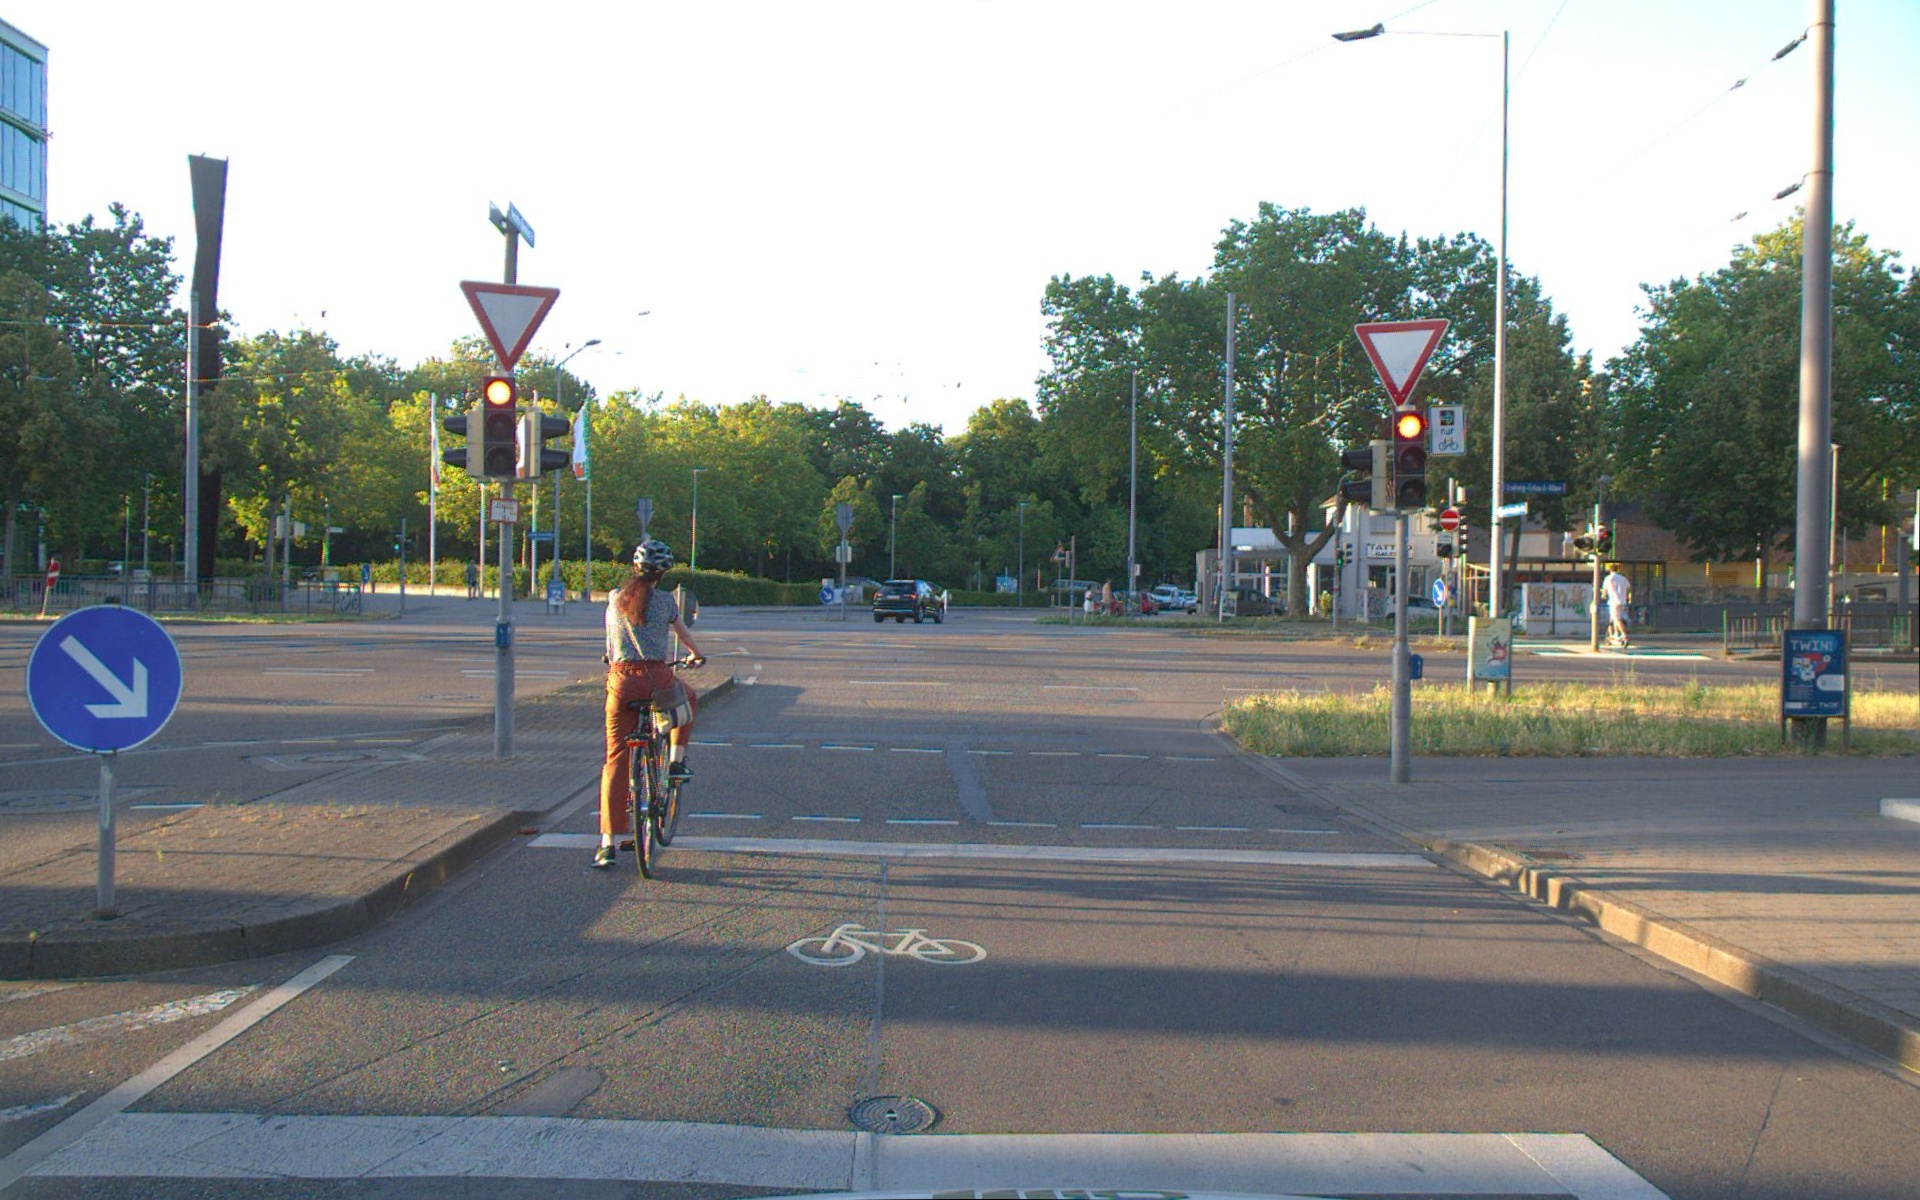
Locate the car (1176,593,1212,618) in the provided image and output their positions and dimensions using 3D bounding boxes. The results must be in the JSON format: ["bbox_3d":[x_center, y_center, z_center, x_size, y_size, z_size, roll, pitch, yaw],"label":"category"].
[{"bbox_3d":[16.379,0.359,115.663,1.875,1.630,4.002,1,1,17],"label":"car"}]

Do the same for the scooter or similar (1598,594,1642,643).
[{"bbox_3d":[15.406,0.433,38.617,0.499,1.109,1.243,1,0,-1],"label":"scooter or similar"}]

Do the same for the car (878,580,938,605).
[{"bbox_3d":[-3.419,-0.521,109.464,3.905,1.588,2.000,1,0,1],"label":"car"}]

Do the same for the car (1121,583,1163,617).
[{"bbox_3d":[11.386,-0.026,103.483,1.875,2.083,4.002,1,1,17],"label":"car"}]

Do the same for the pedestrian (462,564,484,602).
[{"bbox_3d":[-22.934,-0.787,77.841,0.884,1.785,0.715,1,0,-26],"label":"pedestrian"}]

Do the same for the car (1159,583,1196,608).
[{"bbox_3d":[17.909,-0.381,136.052,1.953,2.049,3.998,1,1,24],"label":"car"}]

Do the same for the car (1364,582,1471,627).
[{"bbox_3d":[20.098,0.184,72.773,4.142,1.878,2.001,1,0,2],"label":"car"}]

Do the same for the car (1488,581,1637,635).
[{"bbox_3d":[20.816,0.267,57.232,4.445,1.758,1.860,1,0,-5],"label":"car"}]

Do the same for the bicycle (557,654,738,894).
[{"bbox_3d":[-1.681,0.893,9.215,0.621,1.086,2.122,1,1,-1],"label":"bicycle"}]

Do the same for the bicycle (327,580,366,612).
[{"bbox_3d":[-23.119,-0.153,62.340,0.685,1.156,2.391,1,1,-3],"label":"bicycle"}]

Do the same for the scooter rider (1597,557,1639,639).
[{"bbox_3d":[15.422,-0.042,38.759,0.688,1.887,0.669,1,-1,-1],"label":"scooter rider"}]

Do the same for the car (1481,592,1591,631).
[{"bbox_3d":[25.326,0.494,72.789,4.142,1.605,2.001,1,0,2],"label":"car"}]

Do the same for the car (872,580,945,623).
[{"bbox_3d":[-1.910,0.076,62.704,1.718,1.568,4.404,1,-1,12],"label":"car"}]

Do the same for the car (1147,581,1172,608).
[{"bbox_3d":[15.830,-0.437,131.416,1.951,2.049,4.003,1,1,6],"label":"car"}]

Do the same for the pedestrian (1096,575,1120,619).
[{"bbox_3d":[6.029,-0.129,67.528,0.704,1.785,0.897,1,0,23],"label":"pedestrian"}]

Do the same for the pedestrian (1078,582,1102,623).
[{"bbox_3d":[5.369,0.093,68.215,0.704,1.667,0.897,1,0,23],"label":"pedestrian"}]

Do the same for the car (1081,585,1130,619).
[{"bbox_3d":[8.459,0.106,95.824,1.829,1.907,3.875,1,1,20],"label":"car"}]

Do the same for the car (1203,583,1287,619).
[{"bbox_3d":[15.327,0.044,89.191,4.285,1.867,1.950,1,1,4],"label":"car"}]

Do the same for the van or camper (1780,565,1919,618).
[{"bbox_3d":[43.662,-0.415,80.348,6.426,2.452,2.265,1,0,3],"label":"van or camper"}]

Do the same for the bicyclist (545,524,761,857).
[{"bbox_3d":[-1.679,0.473,9.229,1.011,1.748,0.996,1,0,-1],"label":"bicyclist"}]
